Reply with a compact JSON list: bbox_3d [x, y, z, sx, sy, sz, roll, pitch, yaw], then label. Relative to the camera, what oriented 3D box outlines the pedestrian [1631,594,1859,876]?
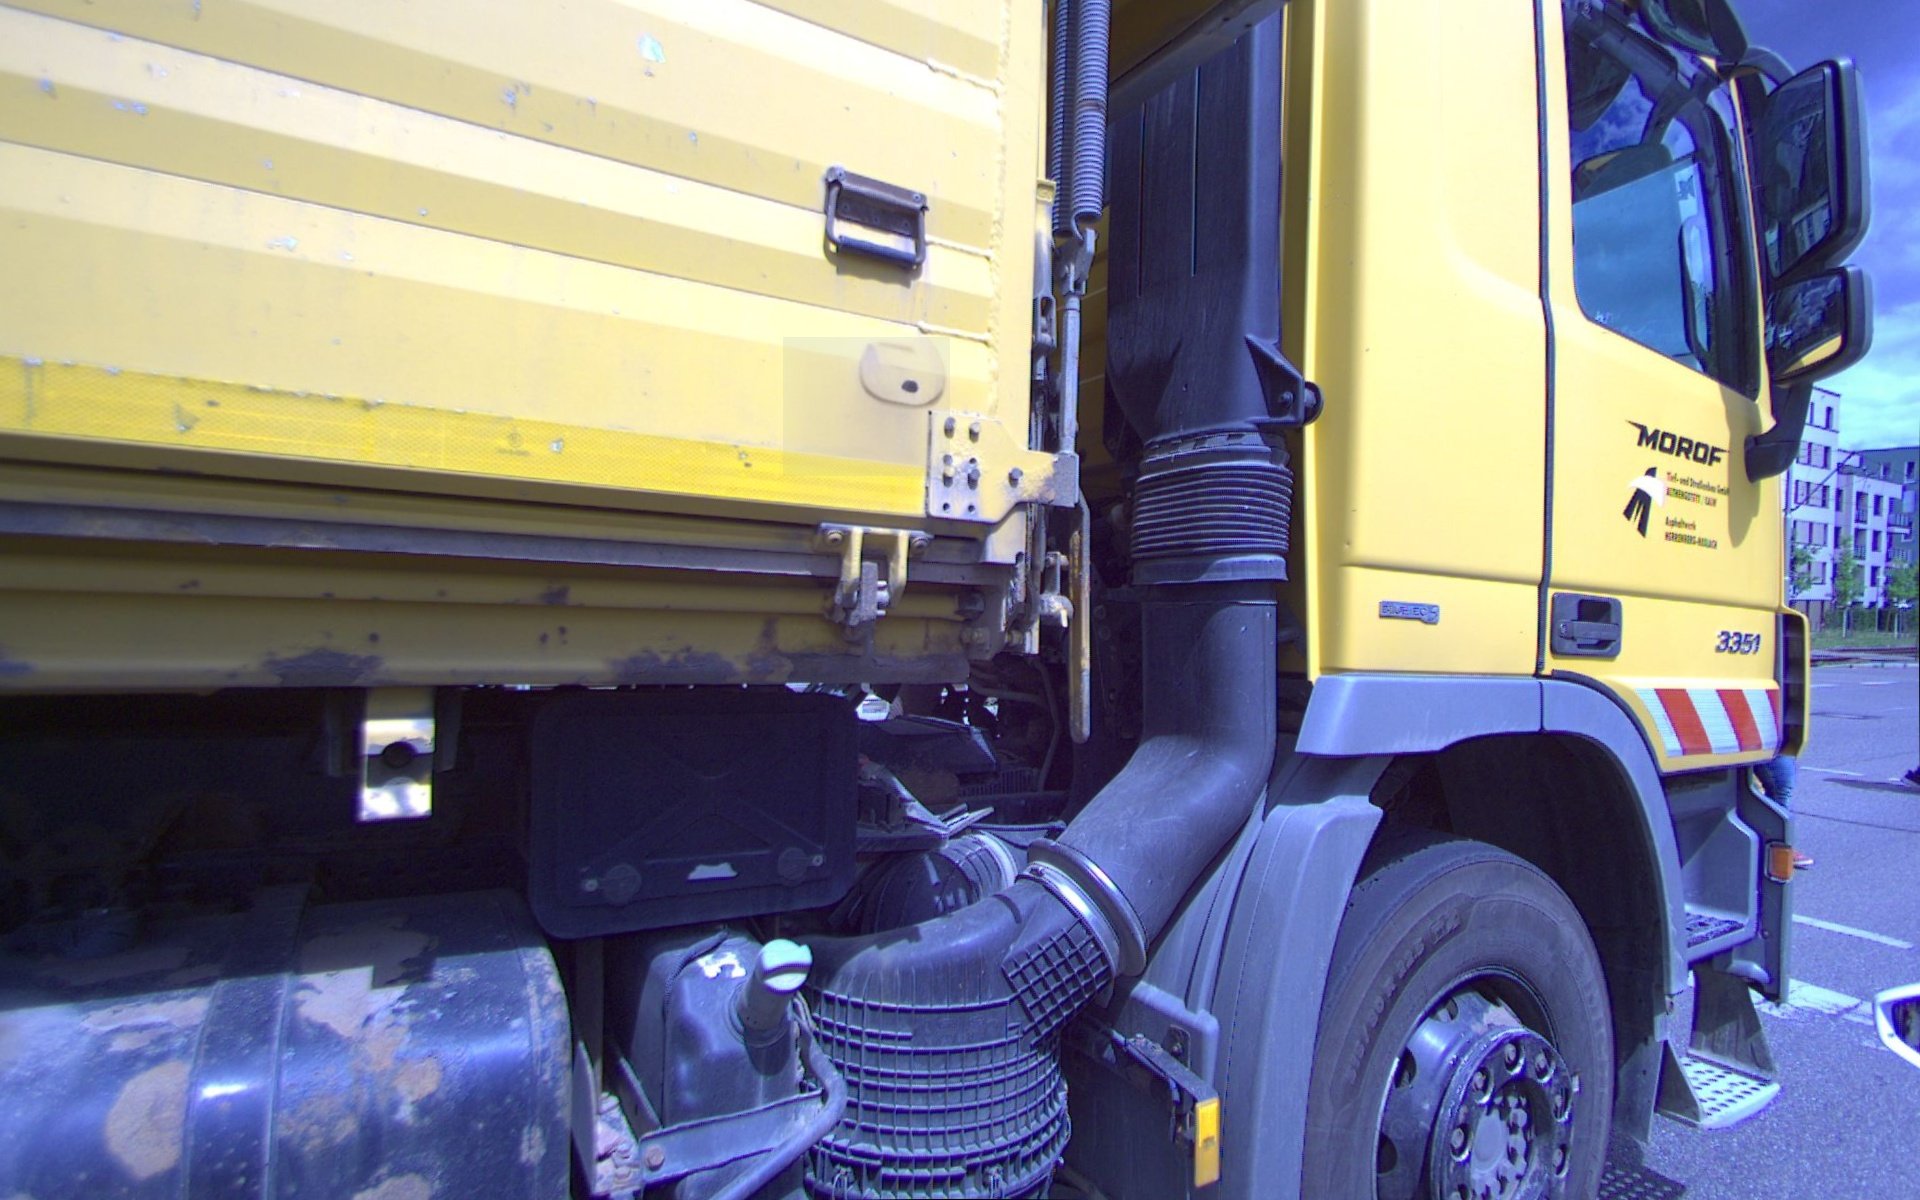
[{"bbox_3d":[4.795,0.756,6.163,0.737,1.575,0.877,1,0,-29],"label":"pedestrian"}]

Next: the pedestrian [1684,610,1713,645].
[{"bbox_3d":[32.413,1.201,44.073,0.628,1.536,0.827,1,0,-30],"label":"pedestrian"}]

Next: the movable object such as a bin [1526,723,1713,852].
[{"bbox_3d":[4.415,1.225,6.745,0.768,0.671,0.792,1,0,-29],"label":"movable object such as a bin"}]

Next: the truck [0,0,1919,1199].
[{"bbox_3d":[-1.739,-0.239,1.668,7.916,3.439,3.033,1,0,-32],"label":"truck"}]

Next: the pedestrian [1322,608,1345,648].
[{"bbox_3d":[16.227,1.190,43.660,0.907,1.698,1.101,1,0,19],"label":"pedestrian"}]

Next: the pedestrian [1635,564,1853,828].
[{"bbox_3d":[5.857,0.657,7.527,0.938,1.798,1.004,1,0,-31],"label":"pedestrian"}]

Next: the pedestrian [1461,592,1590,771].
[{"bbox_3d":[5.564,0.758,9.894,0.758,1.656,0.862,1,0,-37],"label":"pedestrian"}]

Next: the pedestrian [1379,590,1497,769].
[{"bbox_3d":[4.704,0.742,9.891,0.728,1.662,0.815,1,0,-41],"label":"pedestrian"}]

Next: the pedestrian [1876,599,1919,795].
[{"bbox_3d":[8.437,0.812,8.457,0.899,1.618,0.887,1,0,-35],"label":"pedestrian"}]
